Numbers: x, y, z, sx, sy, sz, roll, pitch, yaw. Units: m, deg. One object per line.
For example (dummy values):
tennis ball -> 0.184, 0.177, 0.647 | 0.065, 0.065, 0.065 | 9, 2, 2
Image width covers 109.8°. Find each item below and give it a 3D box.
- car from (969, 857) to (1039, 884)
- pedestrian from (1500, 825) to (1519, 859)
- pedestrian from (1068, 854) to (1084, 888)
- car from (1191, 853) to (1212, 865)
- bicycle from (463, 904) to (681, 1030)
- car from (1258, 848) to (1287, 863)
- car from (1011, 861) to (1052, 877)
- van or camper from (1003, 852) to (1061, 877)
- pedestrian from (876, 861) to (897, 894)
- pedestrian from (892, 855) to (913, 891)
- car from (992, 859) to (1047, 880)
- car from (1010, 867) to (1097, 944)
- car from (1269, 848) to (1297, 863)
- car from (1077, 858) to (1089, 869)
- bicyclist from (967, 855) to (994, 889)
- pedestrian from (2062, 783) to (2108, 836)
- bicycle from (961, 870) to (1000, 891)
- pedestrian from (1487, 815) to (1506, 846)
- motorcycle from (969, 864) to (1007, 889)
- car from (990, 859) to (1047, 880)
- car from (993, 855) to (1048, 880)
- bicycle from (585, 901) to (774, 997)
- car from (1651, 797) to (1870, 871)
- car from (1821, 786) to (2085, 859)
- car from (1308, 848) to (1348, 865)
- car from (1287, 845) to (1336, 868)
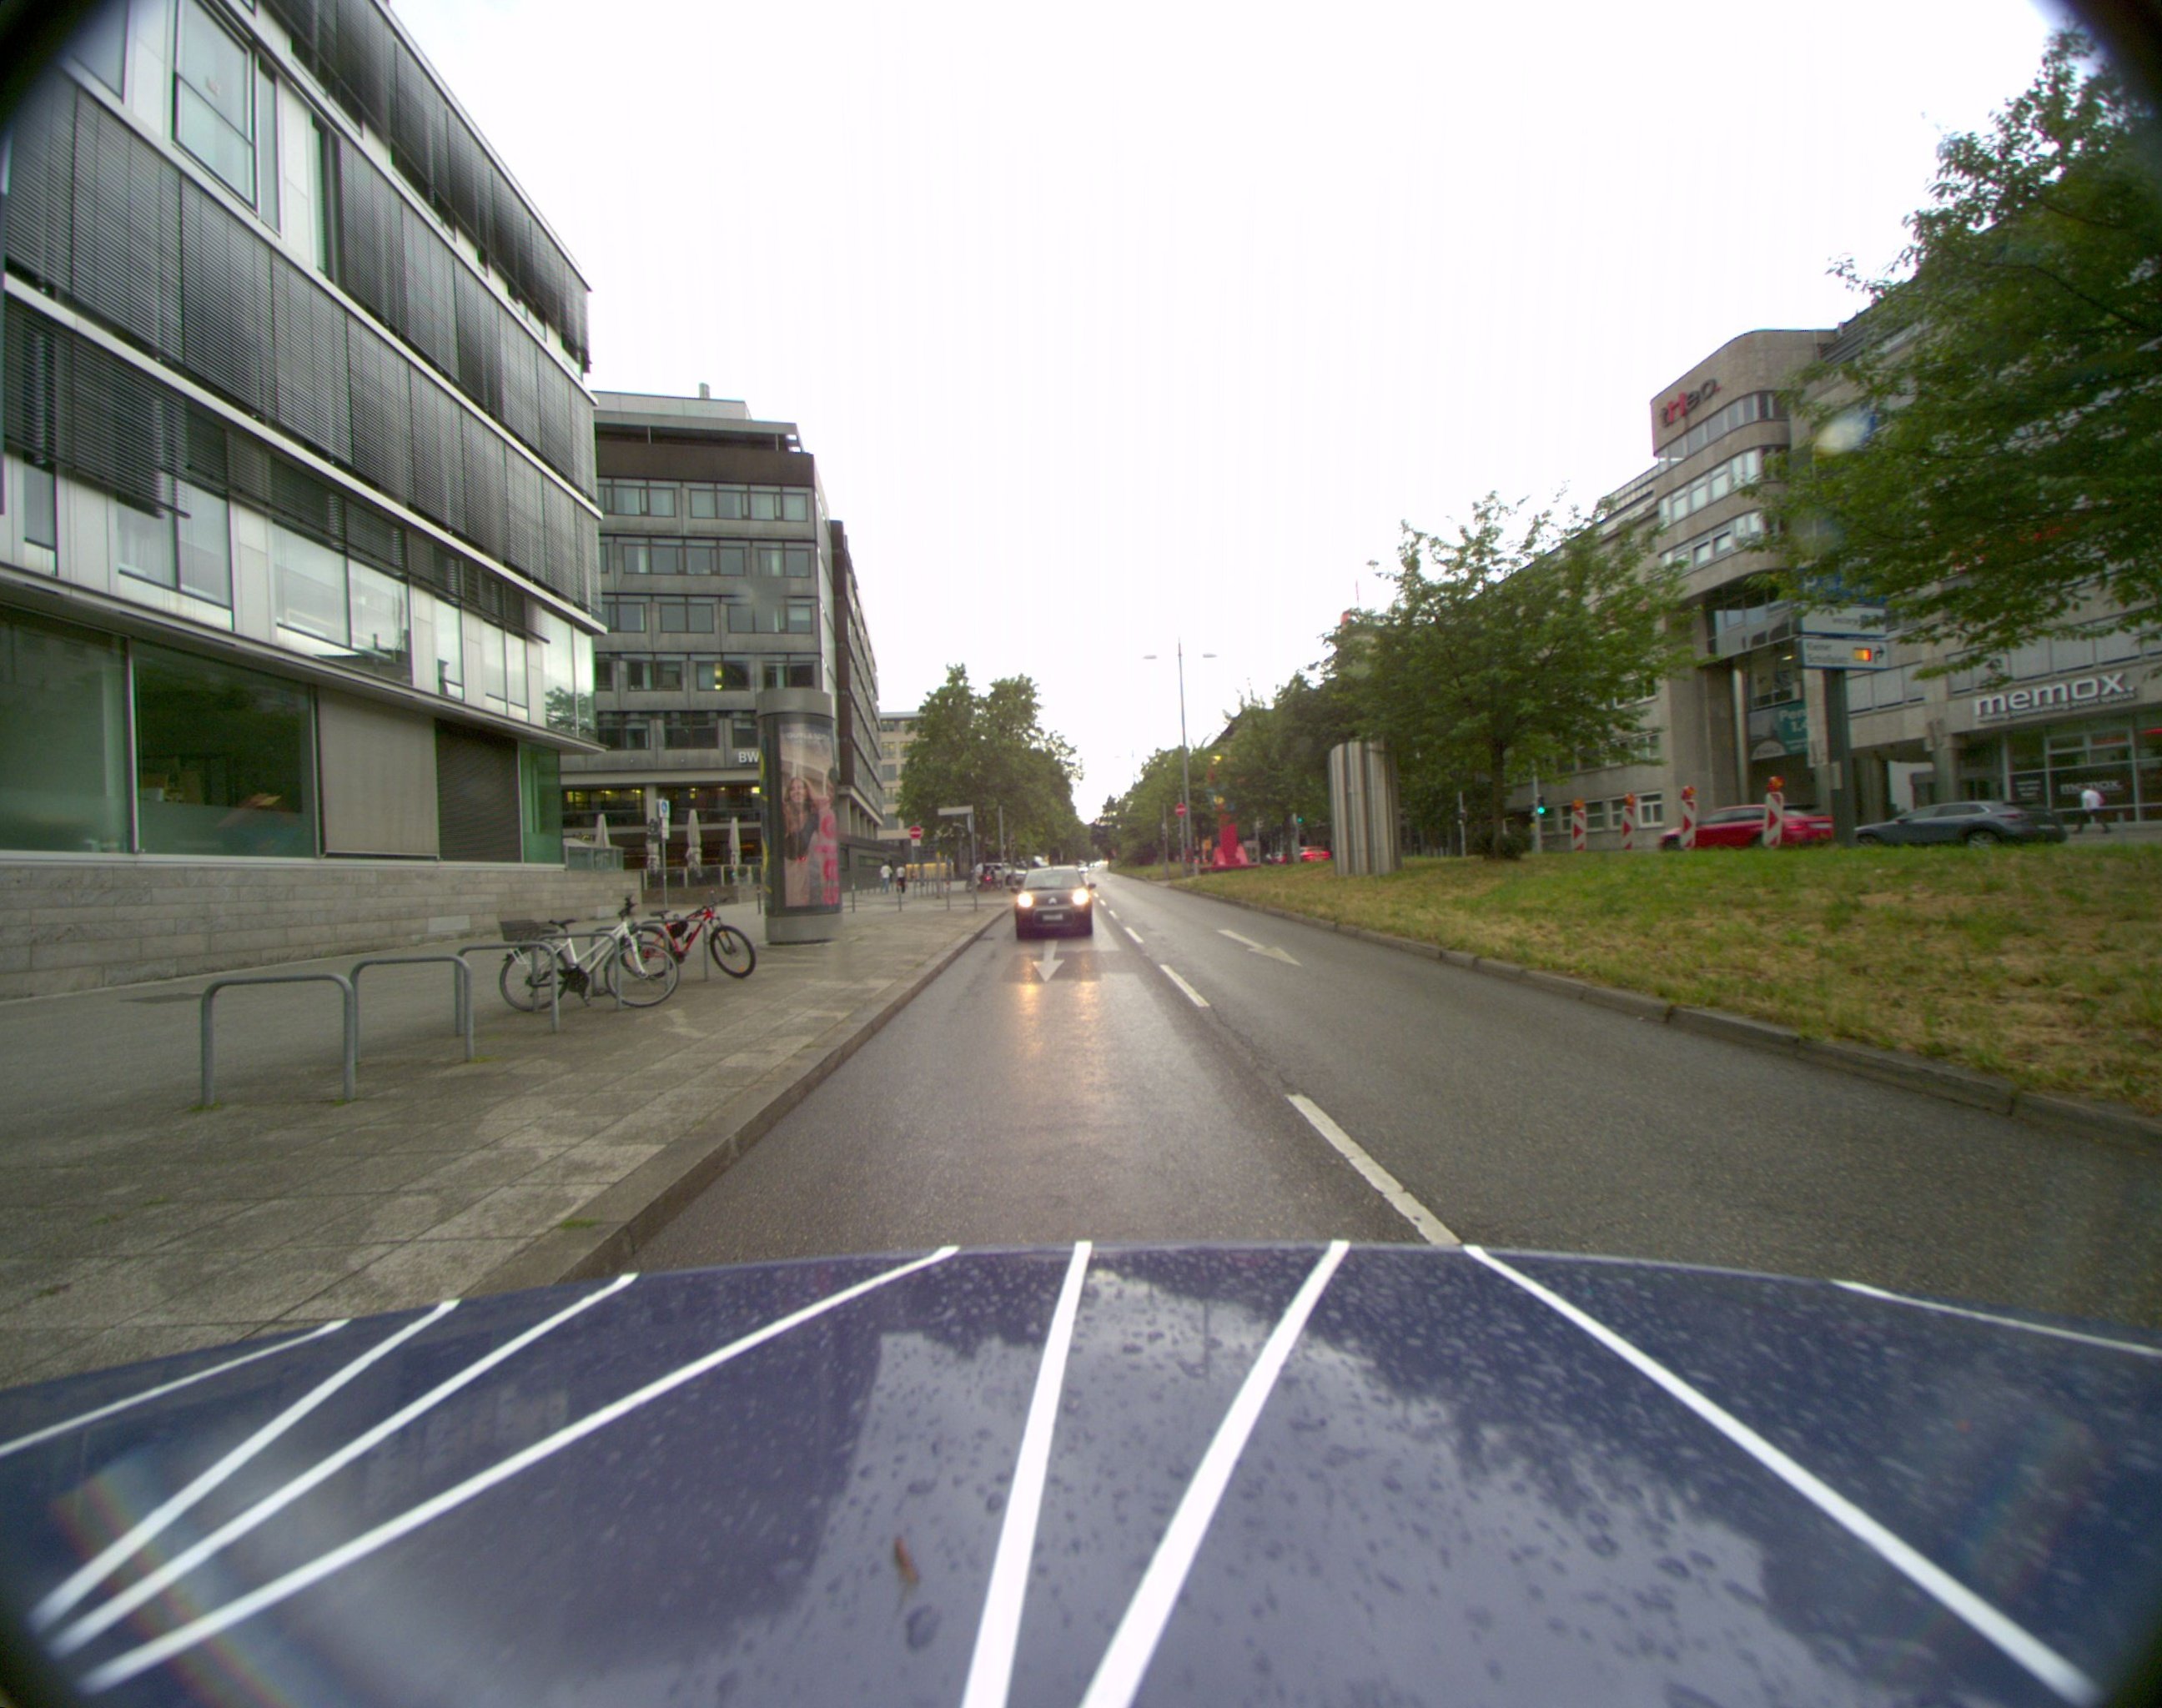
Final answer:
car -> -5.636, 1.216, 55.575 | 4.792, 1.640, 1.920 | -4, 0, 30
pedestrian -> 23.319, -0.645, 41.319 | 0.529, 1.777, 0.721 | -3, 0, 1
pedestrian -> -0.258, 0.872, 38.557 | 0.528, 1.675, 0.722 | -3, 0, 17
car -> 14.538, 0.642, 91.829 | 1.794, 1.406, 4.000 | -1, -1, -1
bicycle -> -5.272, 1.153, 7.928 | 1.840, 1.190, 0.660 | -1, 0, 4
car -> 20.541, 0.177, 81.618 | 1.791, 1.478, 4.575 | -2, -1, -3
car -> -5.379, 1.617, 82.669 | 4.052, 1.415, 1.711 | -4, 0, 29
van or camper -> -5.559, 1.194, 86.260 | 6.251, 2.432, 2.319 | -4, 0, 30
pedestrian -> -11.501, 1.381, 44.899 | 0.802, 1.857, 0.899 | -3, 0, 7
pedestrian -> -10.597, 1.115, 45.099 | 0.851, 2.027, 0.753 | -3, 0, 9
car -> -5.367, 1.335, 66.340 | 4.381, 1.528, 1.920 | -4, 0, 27
car -> -0.625, 1.045, 16.905 | 1.634, 1.408, 3.834 | -3, 0, -2
car -> 20.483, 0.168, 77.057 | 1.690, 1.493, 3.692 | -2, -1, -3
car -> 0.354, 1.670, 128.216 | 1.791, 1.736, 4.575 | -2, -1, -3
bicyclist -> -5.508, 0.995, 41.586 | 1.078, 1.739, 0.812 | -6, 2, 9
pedestrian -> 34.900, -1.541, 26.424 | 0.720, 1.777, 0.530 | -3, 0, 15
bicycle -> -5.487, 1.438, 41.580 | 1.975, 1.132, 0.778 | -1, 1, 9
pedestrian -> 23.072, -1.300, 42.224 | 0.607, 1.619, 0.620 | -3, 0, 1
motorcycle -> -5.620, 1.367, 46.032 | 2.087, 1.349, 0.677 | -4, 0, 7
car -> -5.220, 1.313, 63.556 | 4.347, 1.528, 1.920 | -4, 0, 27
car -> -5.530, 1.202, 69.222 | 4.507, 1.981, 1.925 | -4, 0, 29
bicycle -> -5.130, 1.206, 9.781 | 1.988, 1.097, 0.808 | -2, 0, 4
car -> 17.867, -0.473, 20.273 | 1.951, 1.690, 3.997 | -3, 0, -8
car -> 24.663, -0.811, 21.846 | 1.867, 1.715, 4.791 | -5, 0, -3
car -> 21.688, 0.240, 66.885 | 1.867, 1.421, 4.565 | -2, -1, -3
car -> 15.640, 0.189, 51.746 | 1.867, 1.421, 4.131 | -2, -1, -4
